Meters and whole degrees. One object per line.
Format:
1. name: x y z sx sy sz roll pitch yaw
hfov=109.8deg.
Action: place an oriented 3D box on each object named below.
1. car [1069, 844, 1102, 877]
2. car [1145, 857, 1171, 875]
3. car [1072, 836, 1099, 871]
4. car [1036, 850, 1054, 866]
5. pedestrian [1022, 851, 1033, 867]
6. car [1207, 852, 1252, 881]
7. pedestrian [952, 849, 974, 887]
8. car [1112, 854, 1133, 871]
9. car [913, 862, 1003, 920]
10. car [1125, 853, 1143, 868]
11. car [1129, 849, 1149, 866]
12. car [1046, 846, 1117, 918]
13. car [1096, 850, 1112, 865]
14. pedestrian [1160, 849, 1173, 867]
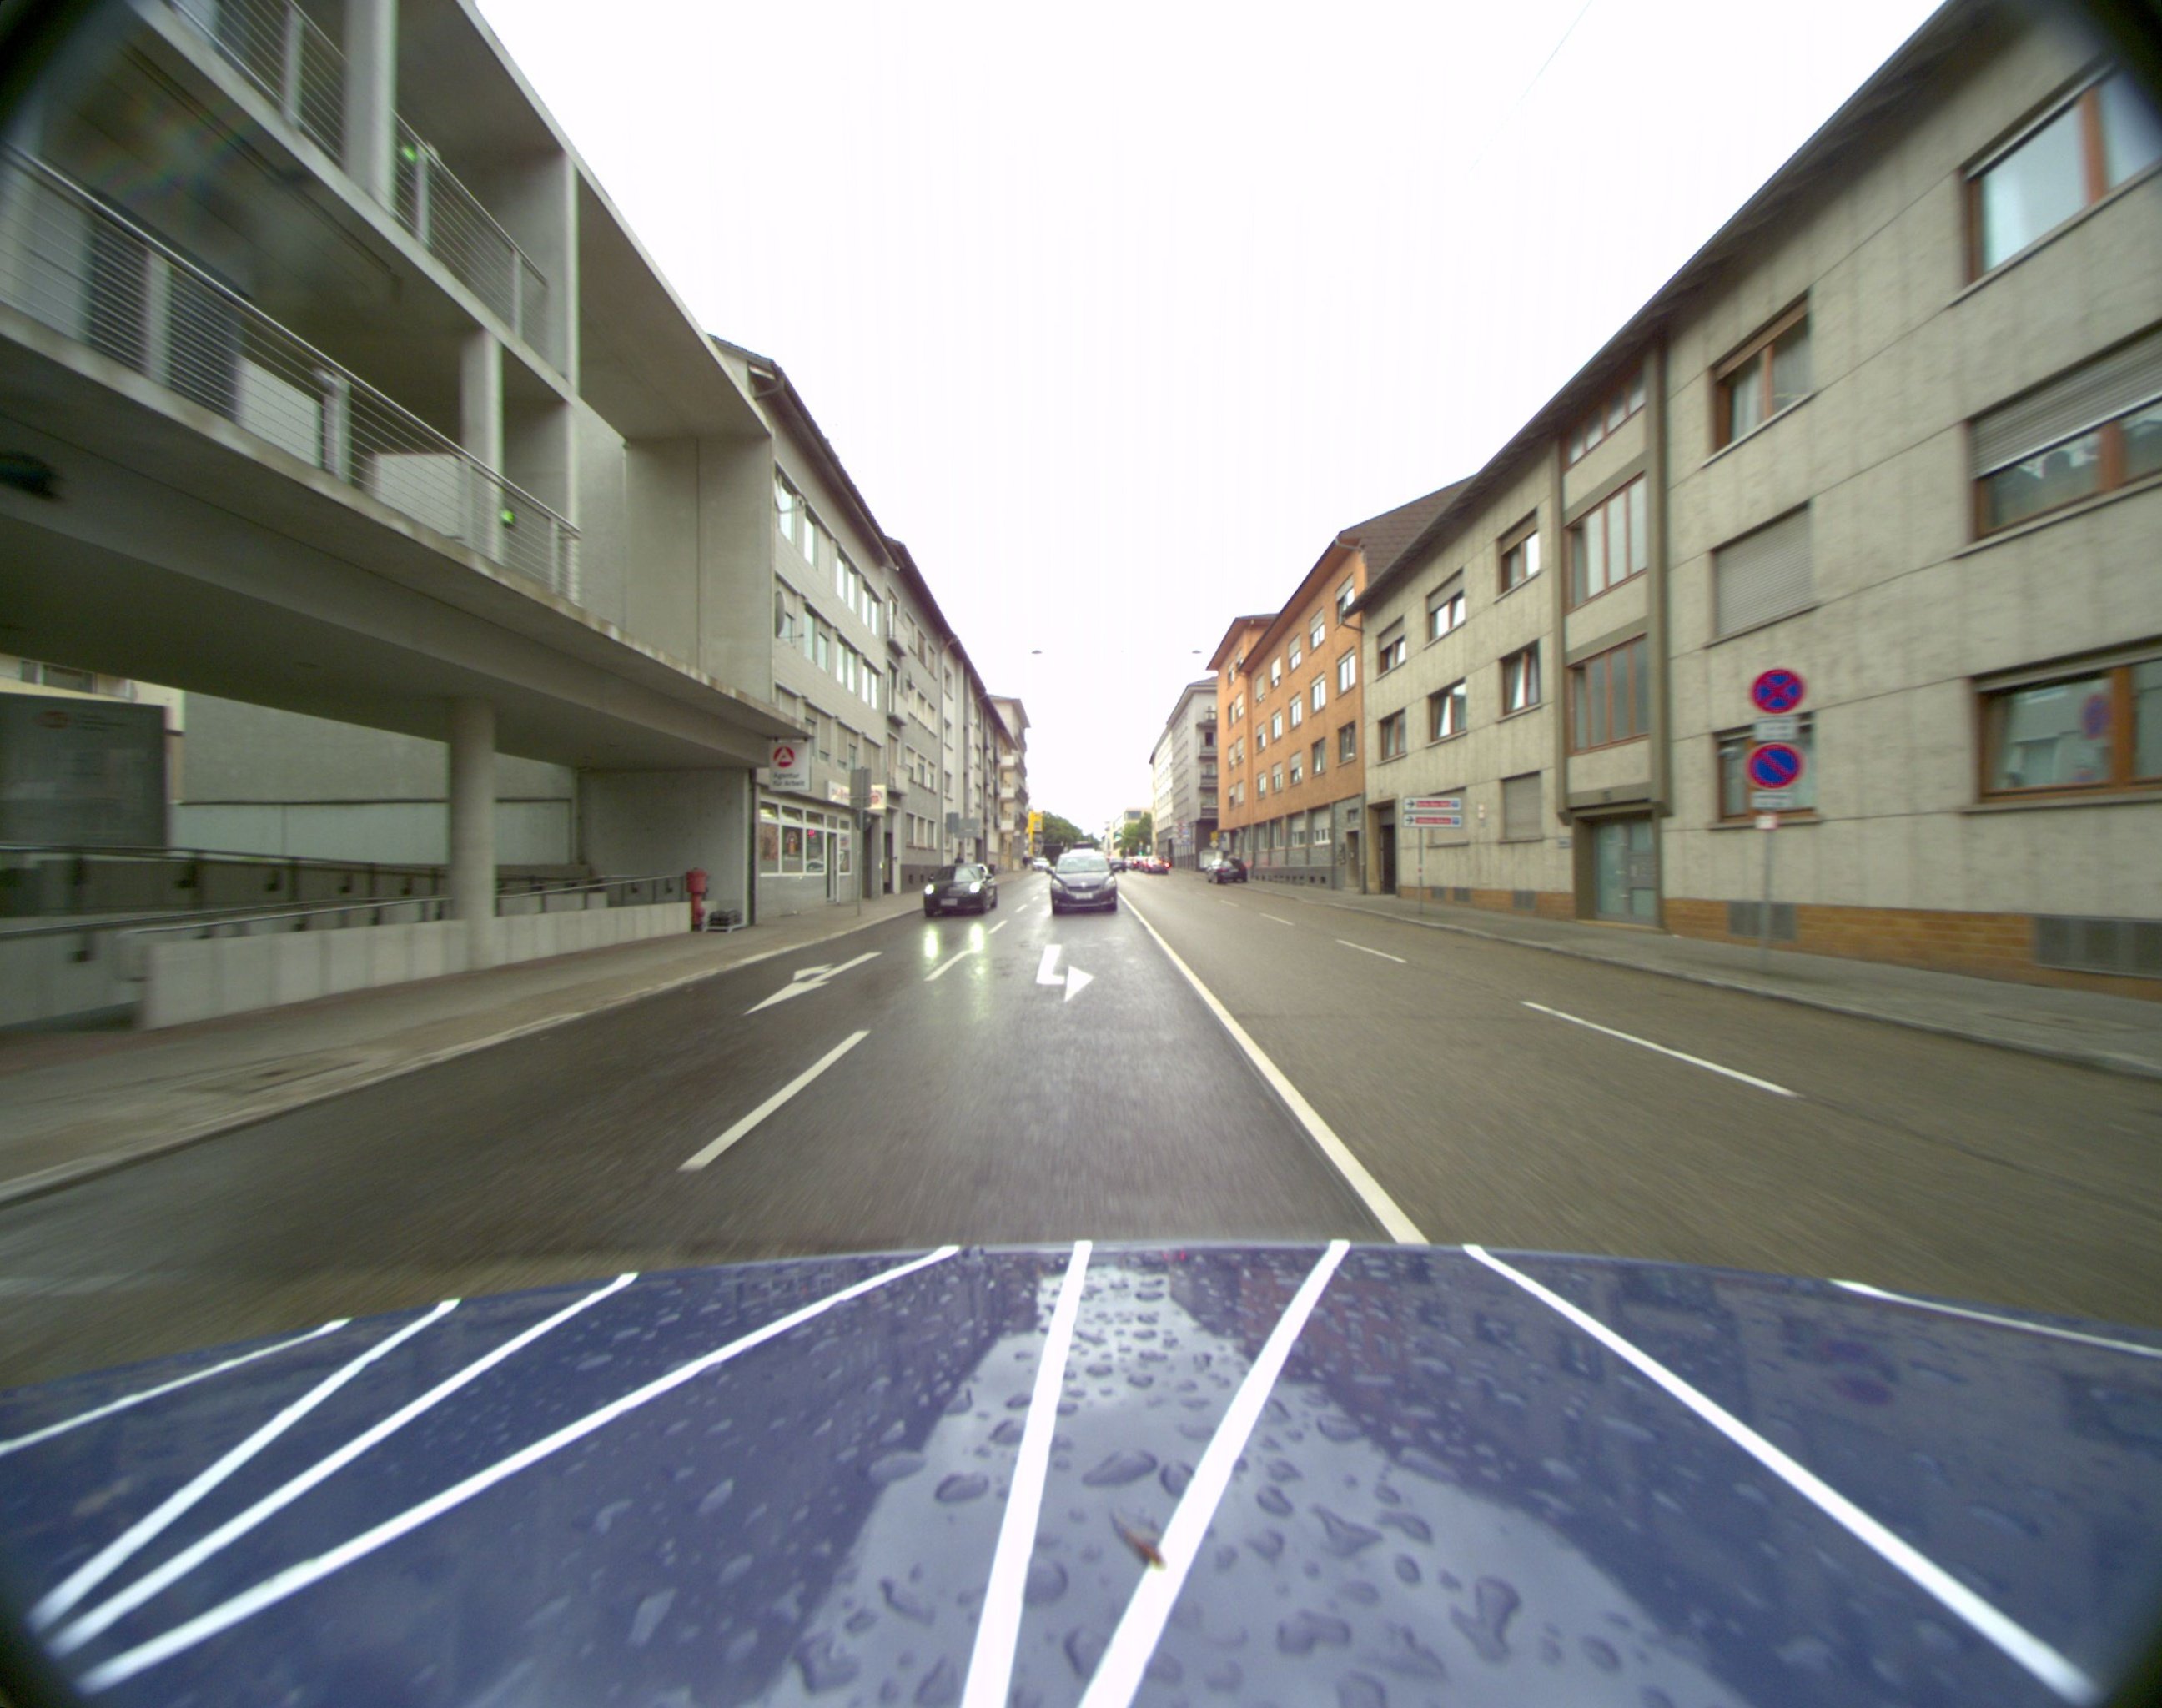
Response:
1. car: 0.299 0.348 47.634 1.856 1.882 4.217 -3 1 1
2. car: 6.631 1.034 65.840 1.699 1.362 4.365 1 1 -1
3. car: 0.416 -0.065 64.676 2.033 2.731 4.368 -3 1 1
4. car: -4.182 0.437 86.961 1.856 1.663 4.215 -4 1 -4
5. pedestrian: -5.775 0.552 82.225 1.119 1.741 0.961 -1 1 -4
6. car: 8.635 0.685 44.422 1.799 1.466 4.217 -3 1 1
7. pedestrian: -6.002 0.695 38.678 0.870 1.855 1.120 3 1 1
8. car: 3.816 0.771 71.018 1.602 1.362 4.361 2 1 -1
9. car: -3.563 1.030 22.866 1.856 1.369 4.217 -3 1 1
10. car: 6.461 0.744 92.641 1.856 1.651 4.610 -3 1 1
11. car: 6.050 0.346 79.641 1.699 1.531 4.435 3 1 0
12. car: 0.060 0.689 21.534 1.699 1.712 4.217 -3 1 1
13. car: 2.653 0.402 87.239 1.699 1.572 4.216 1 1 0
14. pedestrian: 10.108 0.431 90.260 1.309 2.002 1.258 -3 1 1
